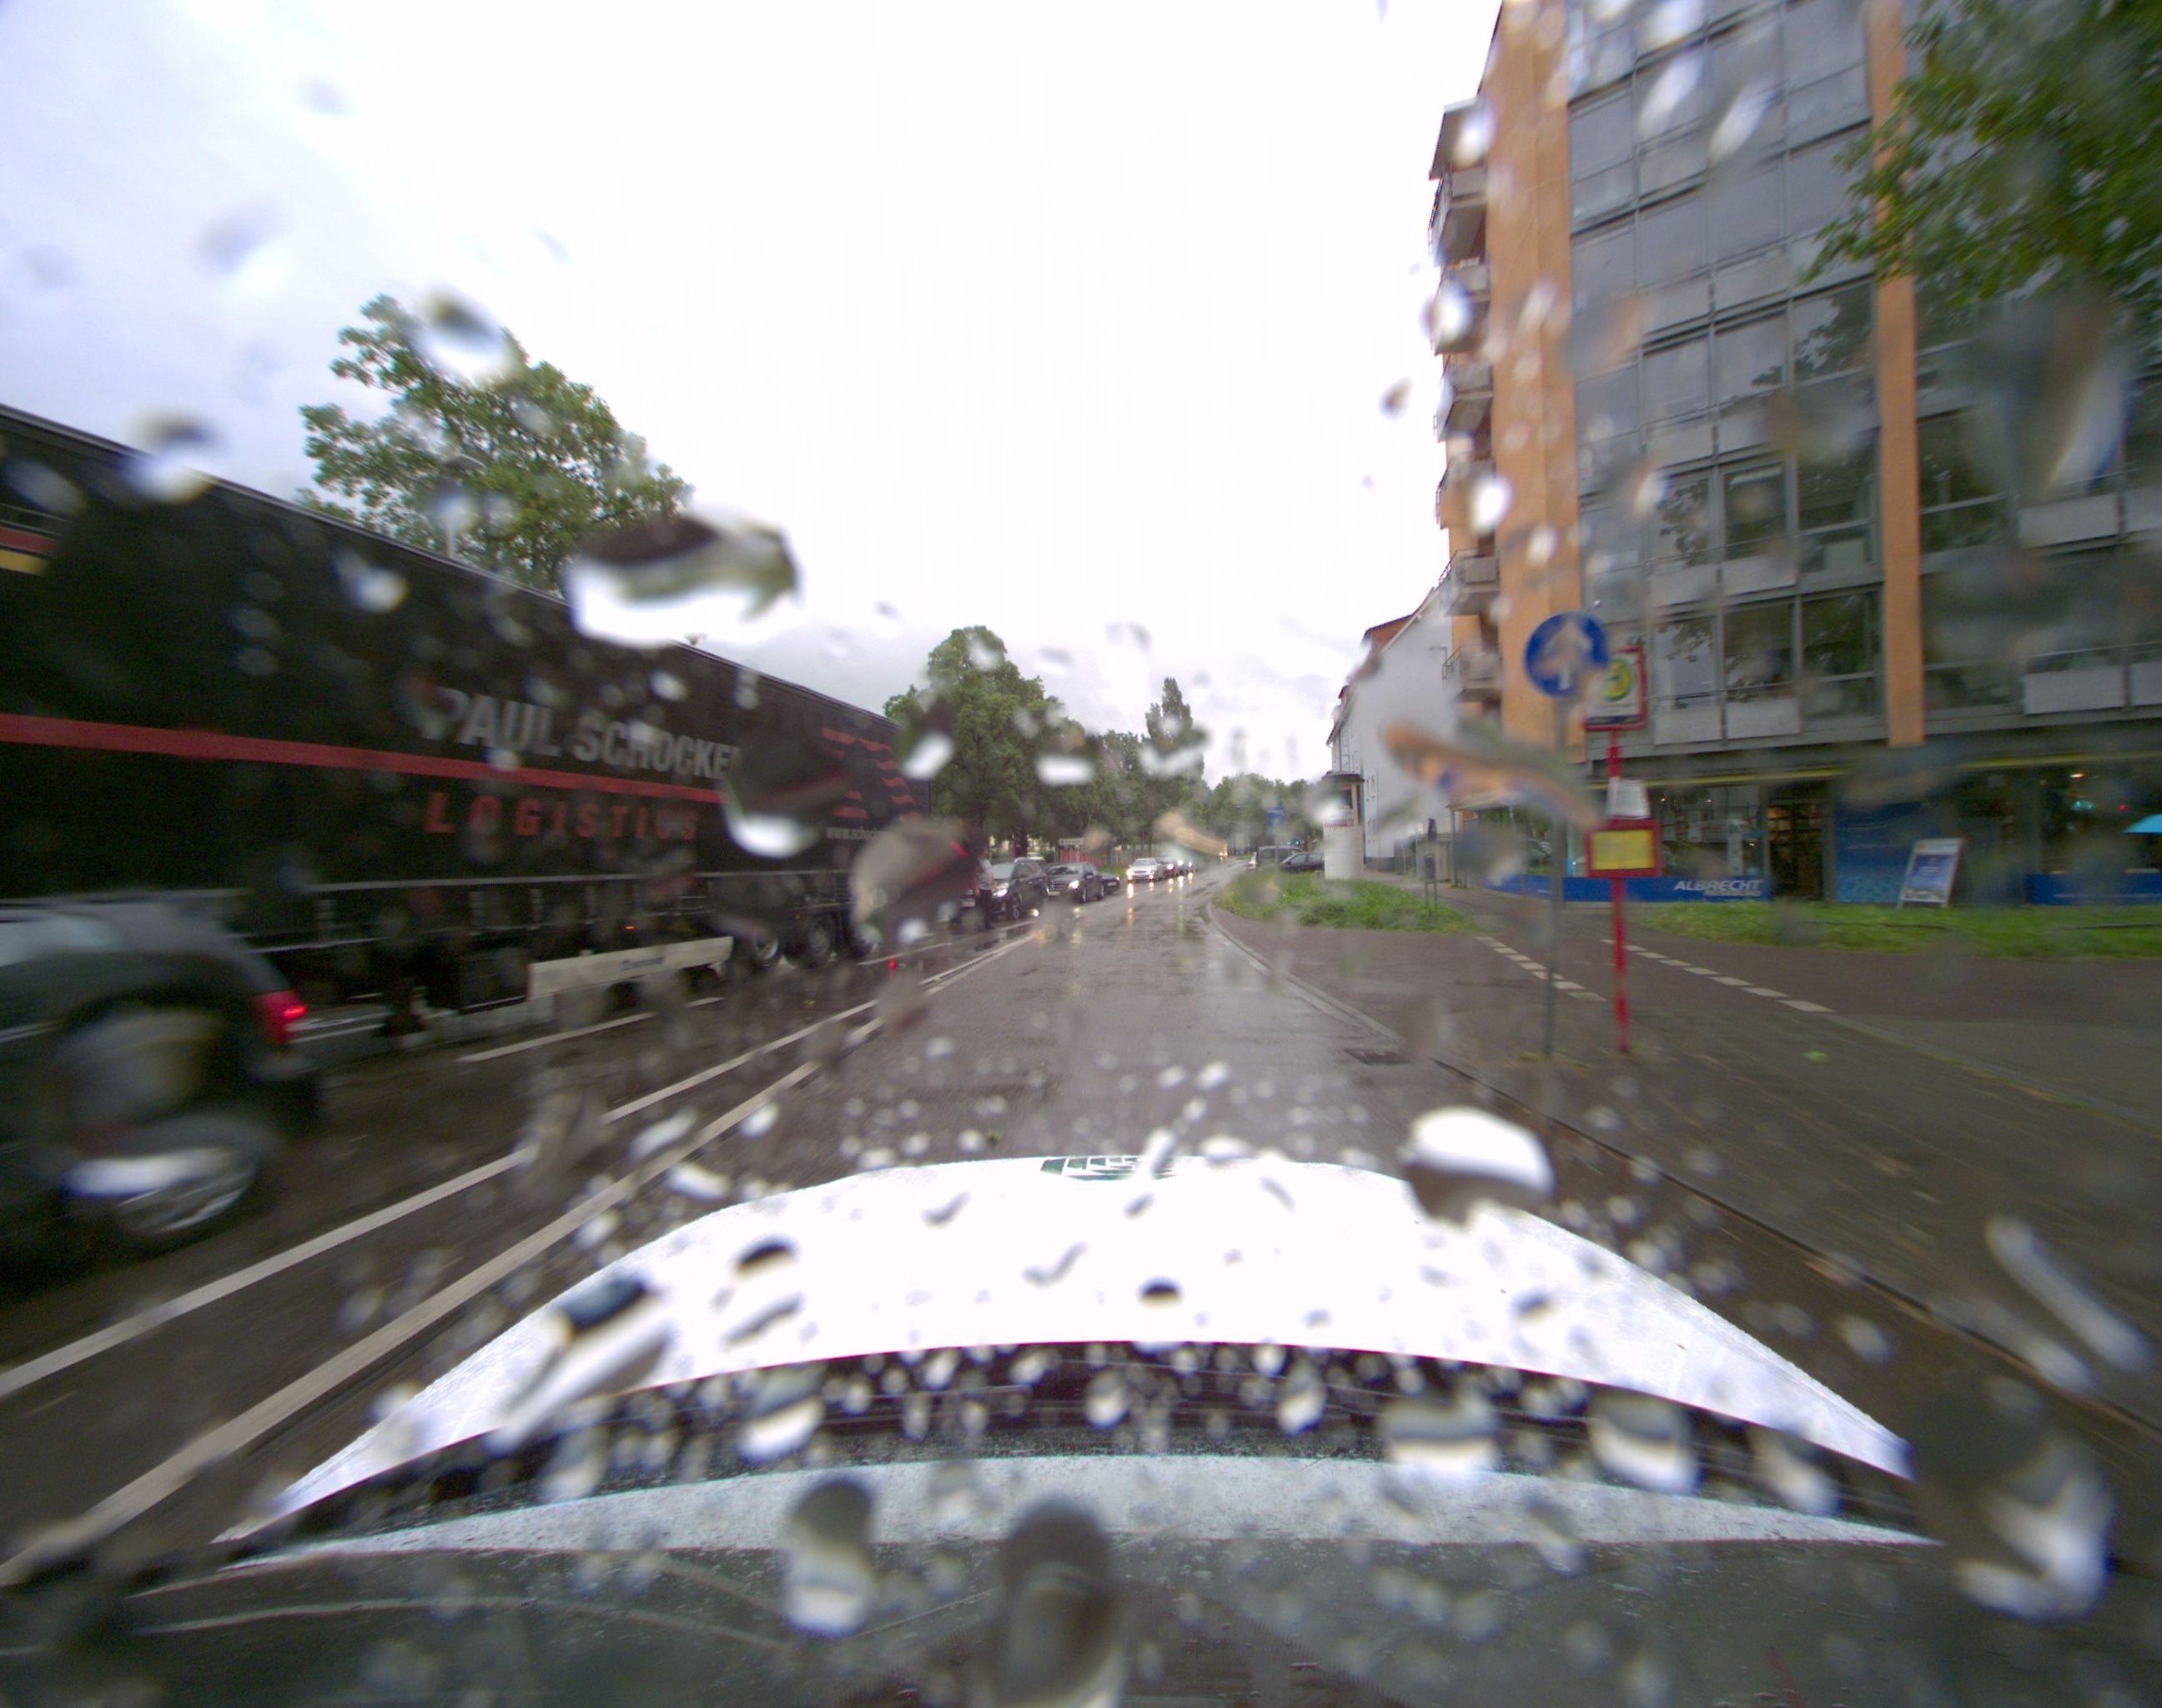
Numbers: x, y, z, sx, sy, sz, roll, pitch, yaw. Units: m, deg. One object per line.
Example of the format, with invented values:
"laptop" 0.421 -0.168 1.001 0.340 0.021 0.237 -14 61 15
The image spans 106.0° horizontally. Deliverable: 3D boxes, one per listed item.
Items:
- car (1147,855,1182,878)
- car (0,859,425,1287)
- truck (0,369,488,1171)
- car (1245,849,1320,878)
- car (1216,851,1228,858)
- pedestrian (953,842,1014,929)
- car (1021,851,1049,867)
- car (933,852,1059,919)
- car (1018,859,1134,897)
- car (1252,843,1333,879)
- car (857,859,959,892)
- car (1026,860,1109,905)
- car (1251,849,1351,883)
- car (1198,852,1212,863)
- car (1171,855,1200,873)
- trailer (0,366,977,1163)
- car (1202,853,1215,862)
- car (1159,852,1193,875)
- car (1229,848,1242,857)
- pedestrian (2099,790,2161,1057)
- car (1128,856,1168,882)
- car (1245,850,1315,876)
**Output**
"car" 5.765 0.822 55.682 1.766 1.420 4.281 -2 0 13
"car" -4.489 0.758 2.183 1.688 1.373 4.111 -1 0 10
"truck" -7.364 -0.398 3.622 3.426 4.078 6.999 -1 0 13
"car" 11.868 0.558 48.232 4.162 1.568 1.895 -2 -1 11
"car" 34.899 0.086 201.097 1.740 1.689 3.988 -1 0 -9
"pedestrian" -2.151 0.672 17.966 0.876 1.843 0.980 -2 0 -44
"car" -4.988 0.572 87.558 1.852 1.573 3.970 -1 -1 -22
"car" -2.171 0.842 22.405 1.854 1.619 4.820 -2 -2 14
"car" -0.277 1.012 34.754 2.098 1.454 4.867 -2 0 -45
"car" 11.794 0.376 45.624 4.206 1.805 1.950 -2 -1 9
"car" -7.808 0.925 36.589 4.337 1.395 2.001 0 -1 -18
"car" -0.385 0.946 28.593 1.714 1.361 4.355 -2 0 15
"car" 10.556 0.577 39.270 4.501 1.470 1.990 -2 -1 13
"car" 18.102 0.516 119.061 1.766 1.530 4.008 -1 1 6
"car" 8.808 0.822 68.251 1.659 1.383 4.270 -2 0 17
"trailer" -5.720 -0.470 10.453 3.418 4.049 15.106 -2 0 13
"car" 20.940 0.590 133.650 1.917 1.484 4.011 -2 0 10
"car" 7.289 0.719 62.379 1.900 1.639 4.840 -1 0 15
"car" 37.710 -0.366 199.052 1.991 2.013 3.992 -2 0 -6
"pedestrian" 8.306 0.467 5.702 1.388 1.865 1.164 -1 0 -26
"car" 4.040 0.862 48.625 1.763 1.403 4.845 -1 0 12
"car" 12.394 0.547 50.801 4.153 1.572 1.896 -1 0 12
